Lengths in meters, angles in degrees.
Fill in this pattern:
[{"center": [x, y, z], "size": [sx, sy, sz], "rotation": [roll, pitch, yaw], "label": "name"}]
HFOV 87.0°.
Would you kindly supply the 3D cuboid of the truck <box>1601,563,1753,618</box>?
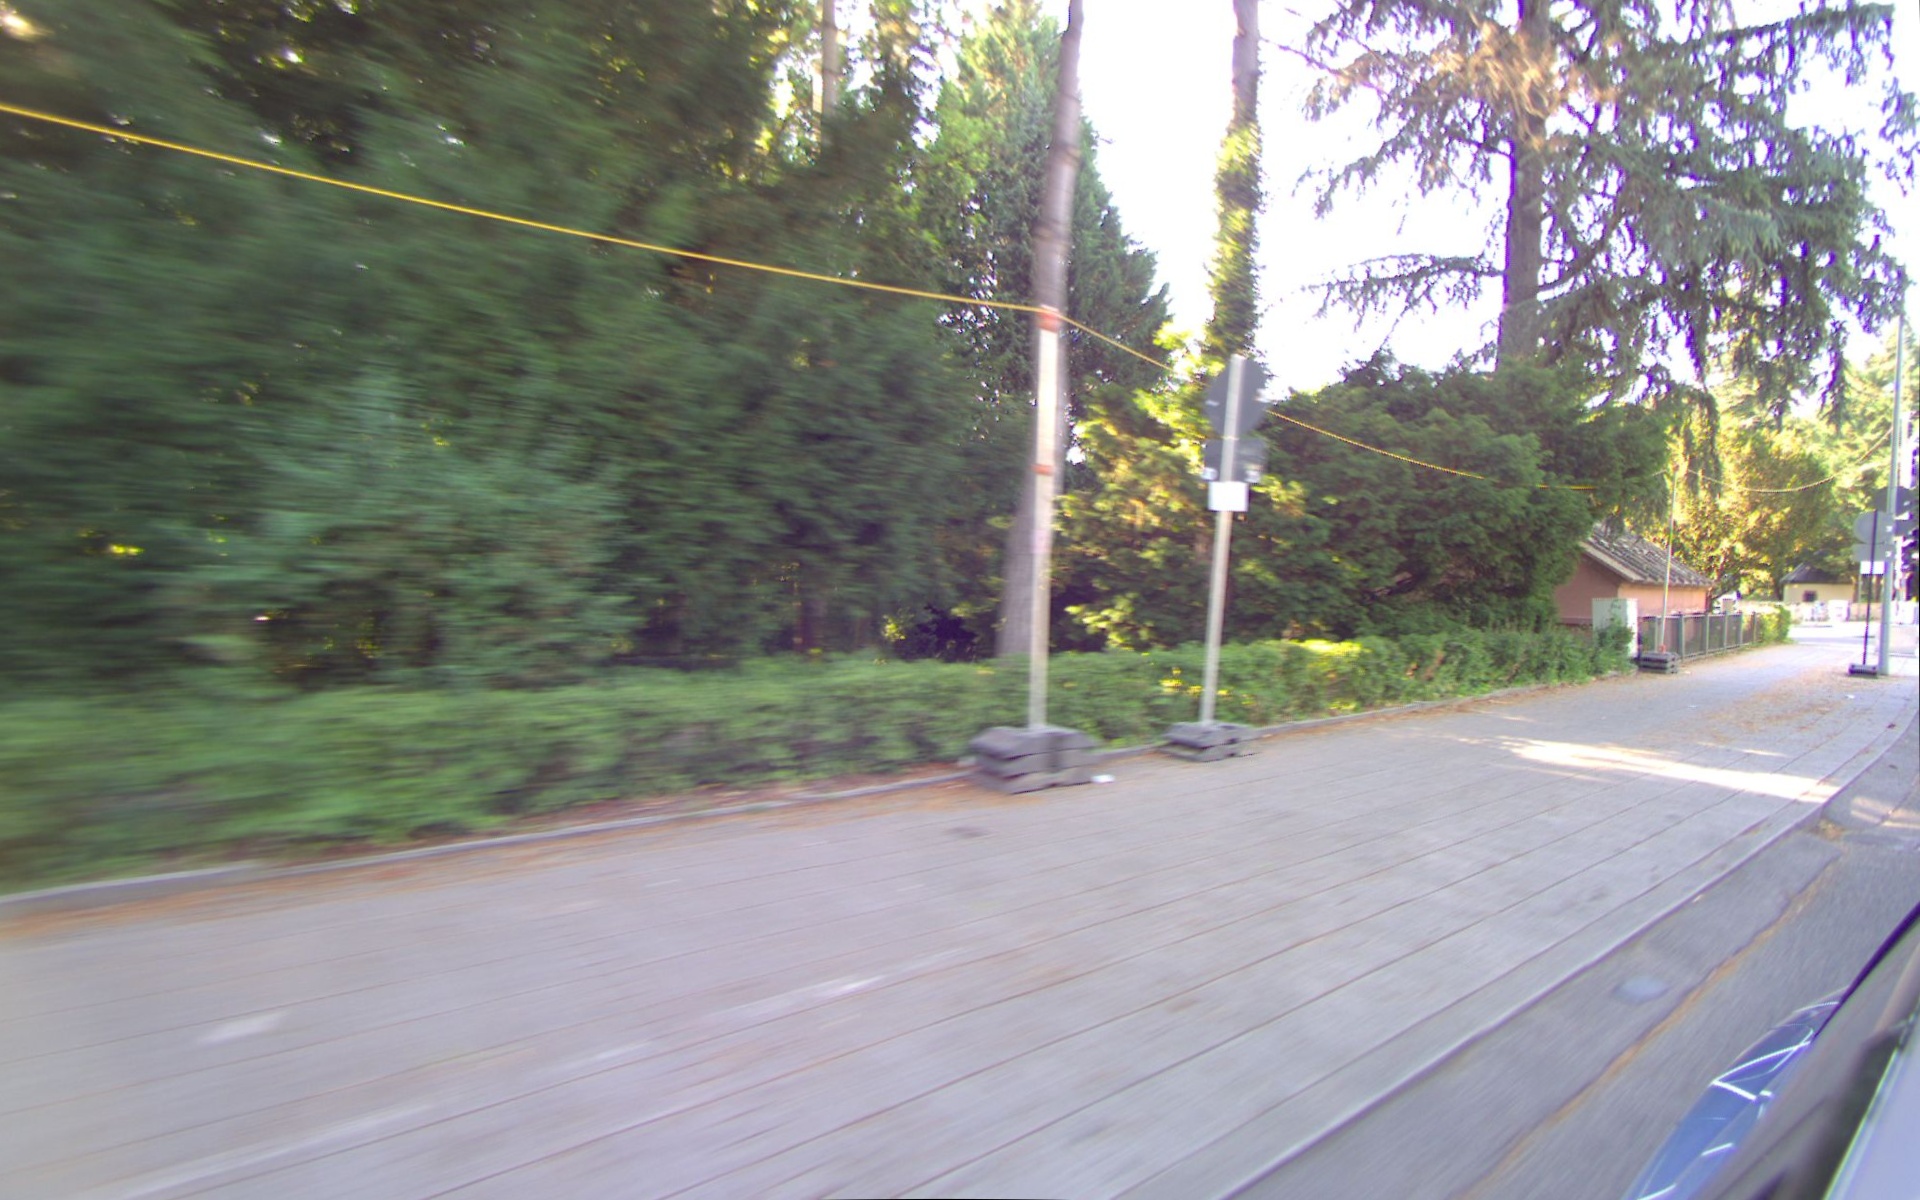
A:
[{"center": [39.008, -0.484, 55.325], "size": [2.321, 2.787, 6.523], "rotation": [0, 0, -23], "label": "truck"}]
